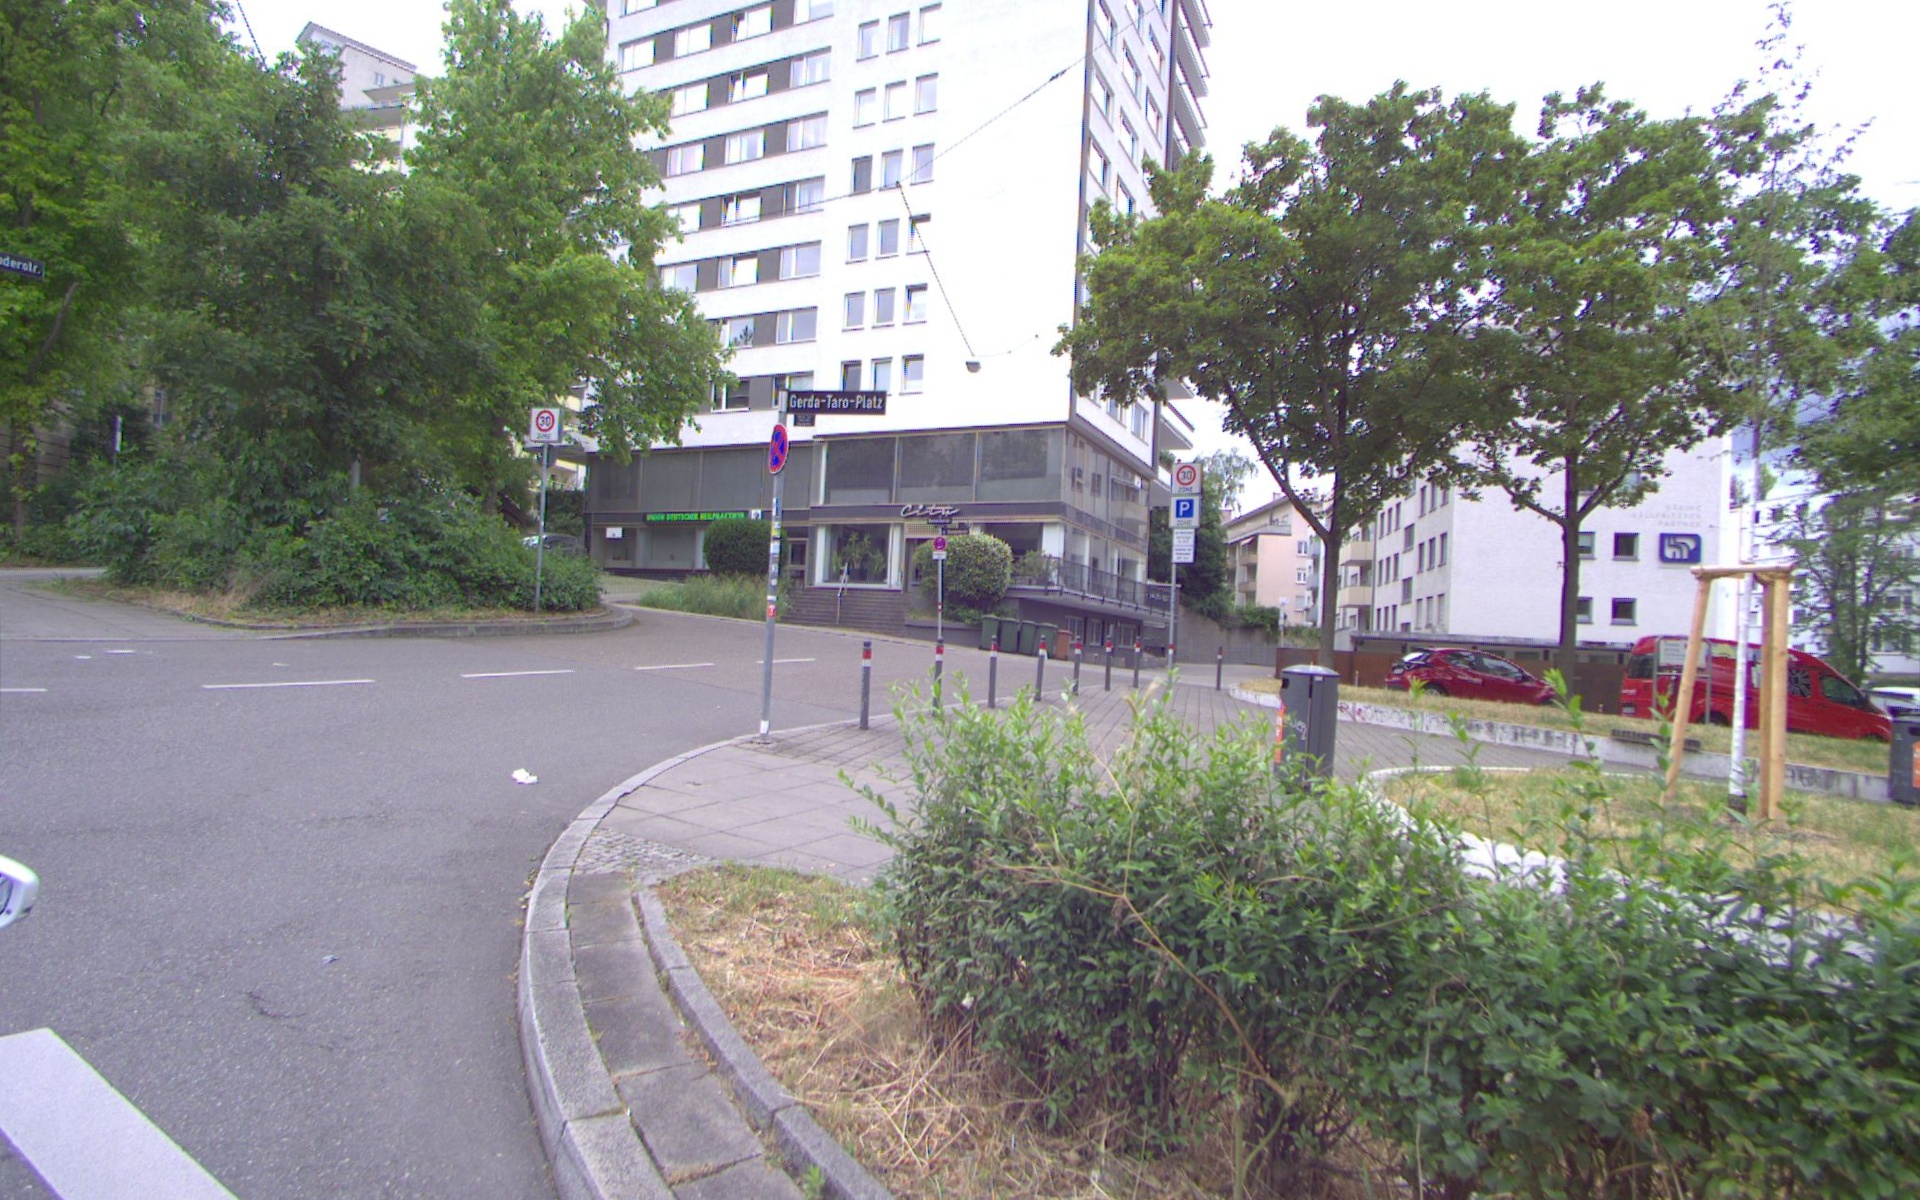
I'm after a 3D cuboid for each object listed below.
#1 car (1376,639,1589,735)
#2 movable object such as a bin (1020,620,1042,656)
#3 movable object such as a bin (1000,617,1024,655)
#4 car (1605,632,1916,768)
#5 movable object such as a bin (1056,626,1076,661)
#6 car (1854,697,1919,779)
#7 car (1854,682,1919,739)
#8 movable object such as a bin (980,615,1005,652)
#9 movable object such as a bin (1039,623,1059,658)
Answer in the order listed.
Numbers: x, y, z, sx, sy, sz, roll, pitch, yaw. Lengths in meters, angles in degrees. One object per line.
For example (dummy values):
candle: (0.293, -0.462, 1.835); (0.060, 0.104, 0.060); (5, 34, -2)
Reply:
car: (11.423, 1.867, 22.209); (3.646, 1.584, 1.749); (6, 0, 4)
movable object such as a bin: (2.226, 1.188, 31.320); (0.528, 1.054, 0.535); (6, 0, 10)
movable object such as a bin: (1.600, 1.101, 30.845); (0.565, 1.083, 0.554); (6, 0, 10)
car: (17.262, 2.097, 21.925); (4.801, 2.241, 2.127); (6, 0, 2)
movable object such as a bin: (3.276, 1.334, 31.146); (0.485, 1.030, 0.547); (6, 0, 10)
car: (22.408, 3.209, 21.638); (4.332, 1.584, 2.001); (6, 0, 4)
car: (36.434, 4.272, 37.988); (2.064, 1.900, 4.613); (6, 0, 16)
movable object such as a bin: (1.002, 1.031, 30.945); (0.599, 1.092, 0.554); (6, 0, 10)
movable object such as a bin: (2.764, 1.254, 31.235); (0.485, 1.037, 0.547); (6, 0, 10)
